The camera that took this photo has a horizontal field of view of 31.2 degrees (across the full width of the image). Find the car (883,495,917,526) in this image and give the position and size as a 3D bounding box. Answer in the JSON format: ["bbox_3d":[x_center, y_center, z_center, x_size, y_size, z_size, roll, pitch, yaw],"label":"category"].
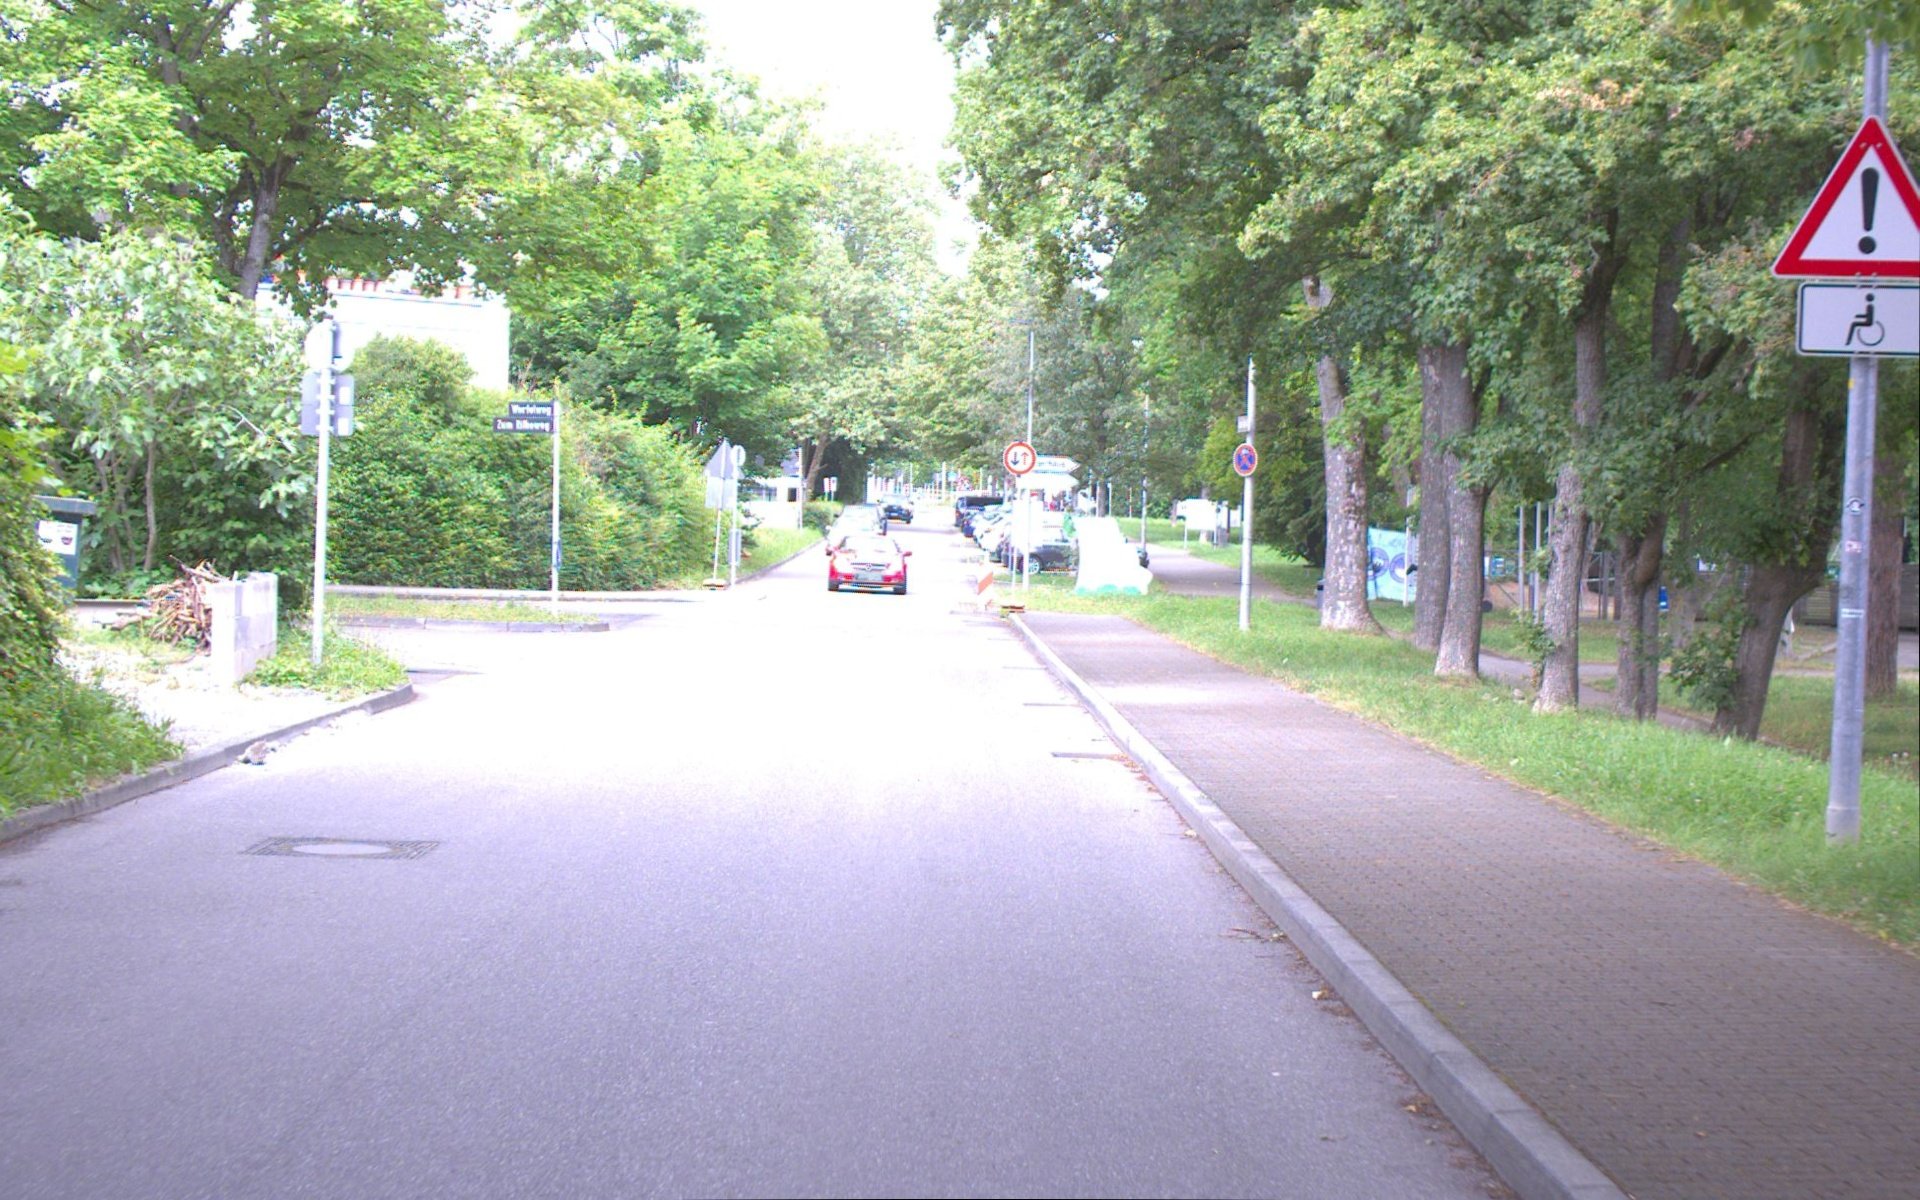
[{"bbox_3d":[-3.586,-5.349,205.553,1.968,1.741,4.339,2,1,-1],"label":"car"}]

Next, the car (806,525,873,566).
[{"bbox_3d":[-4.113,-1.885,118.079,1.781,1.302,4.295,2,1,4],"label":"car"}]

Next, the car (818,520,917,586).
[{"bbox_3d":[-2.080,-1.065,76.531,1.750,1.331,4.066,2,1,-7],"label":"car"}]

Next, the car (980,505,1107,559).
[{"bbox_3d":[2.799,-2.284,115.393,4.062,1.681,1.823,-2,2,-4],"label":"car"}]

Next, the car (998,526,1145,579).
[{"bbox_3d":[3.155,-1.338,97.721,4.063,1.429,2.000,1,0,-1],"label":"car"}]
